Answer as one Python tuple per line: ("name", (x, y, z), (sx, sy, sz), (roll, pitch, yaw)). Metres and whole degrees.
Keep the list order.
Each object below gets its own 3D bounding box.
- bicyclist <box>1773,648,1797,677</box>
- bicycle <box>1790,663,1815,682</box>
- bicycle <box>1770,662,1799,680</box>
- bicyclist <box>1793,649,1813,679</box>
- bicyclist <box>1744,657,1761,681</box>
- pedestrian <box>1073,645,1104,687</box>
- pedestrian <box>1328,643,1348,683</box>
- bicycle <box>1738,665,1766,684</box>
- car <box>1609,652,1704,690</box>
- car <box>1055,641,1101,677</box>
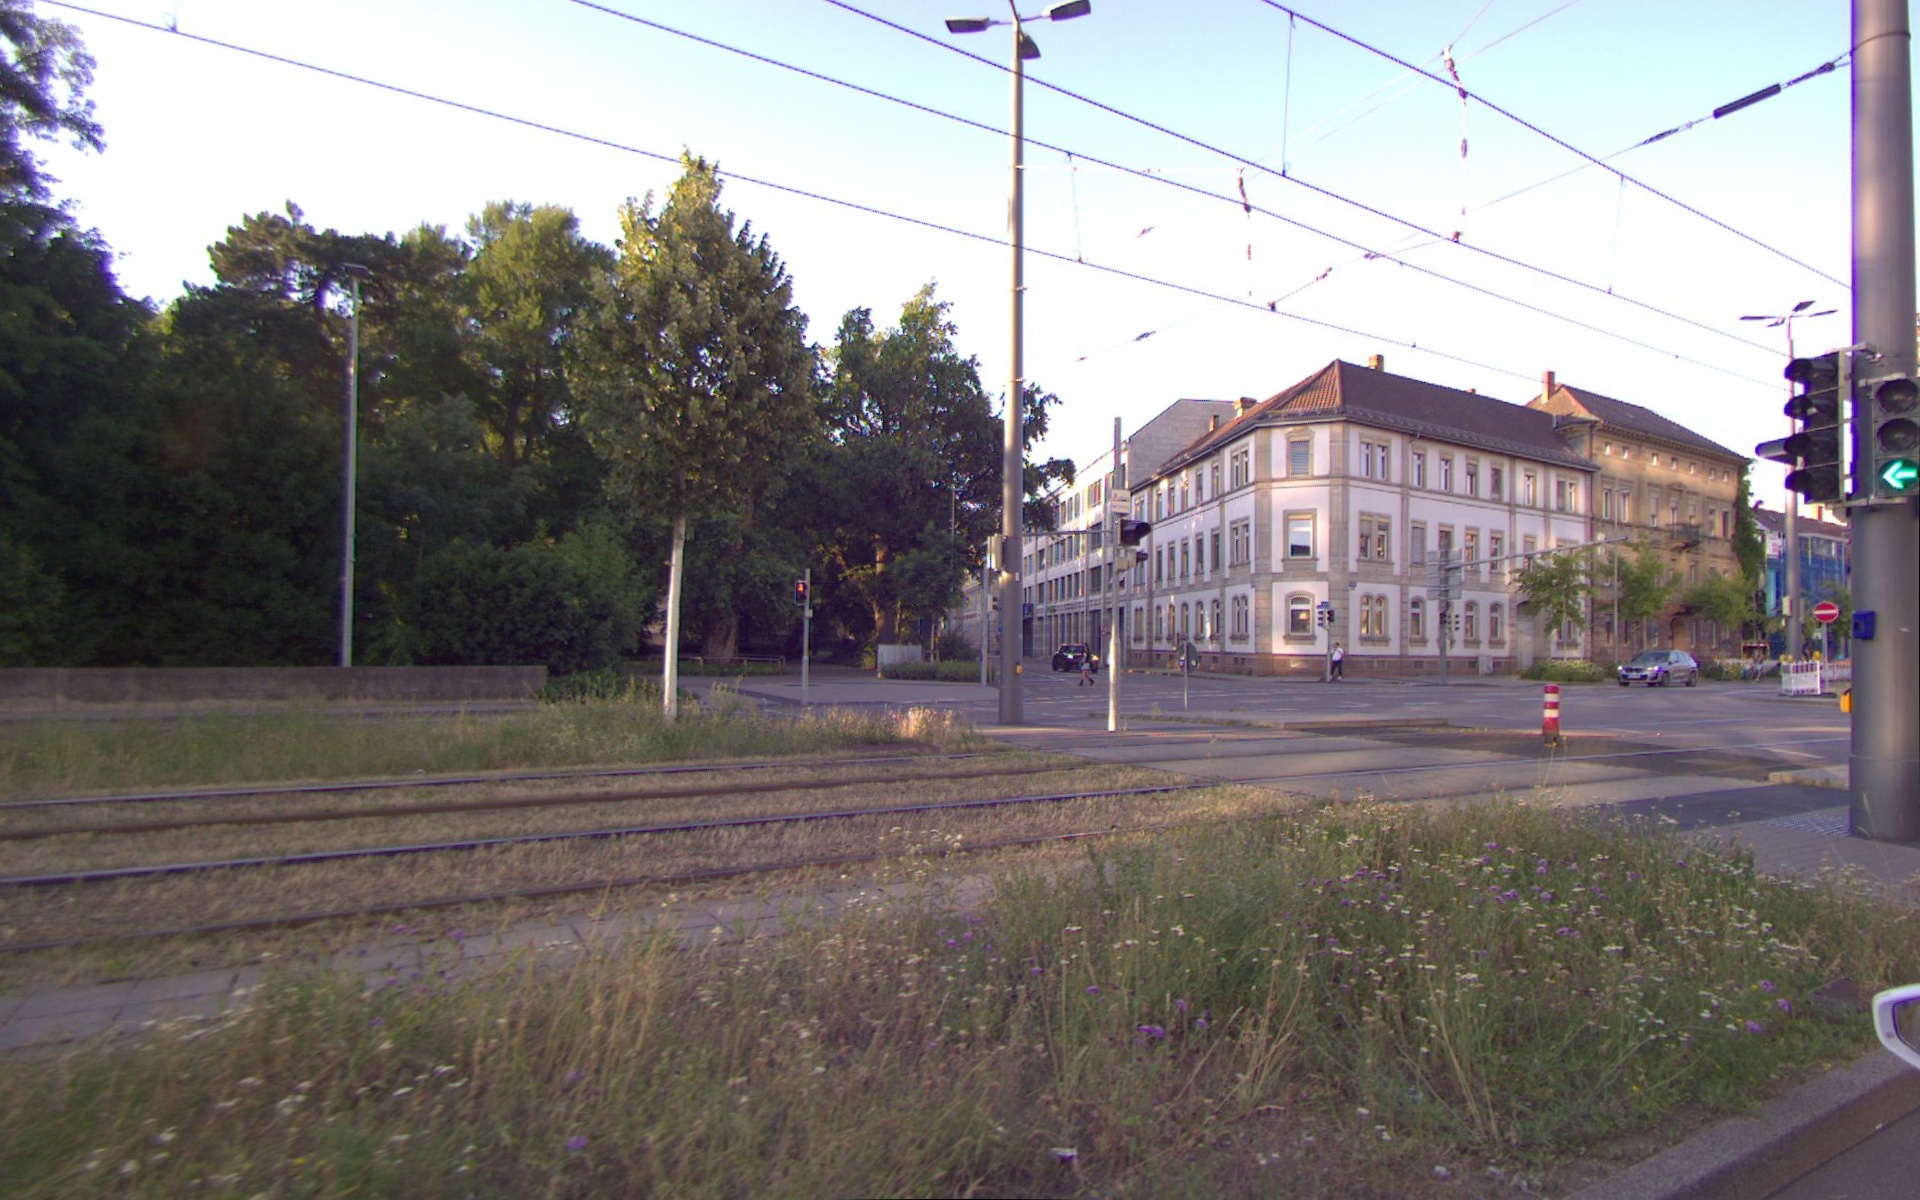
("bicyclist", (46.134, 3.489, 56.178), (0.783, 1.591, 0.768), (2, 0, -31))
("bicycle", (46.061, 3.961, 54.917), (1.538, 0.988, 0.587), (2, 0, -31))
("bicycle", (46.122, 3.977, 56.183), (1.621, 0.957, 0.768), (2, 0, -31))
("bicyclist", (46.076, 3.488, 54.914), (0.702, 1.590, 0.587), (2, 0, -31))
("bicyclist", (43.584, 3.792, 55.258), (0.454, 1.283, 0.588), (2, 0, -25))
("pedestrian", (4.631, 2.371, 36.204), (0.923, 1.477, 0.602), (2, 0, -23))
("pedestrian", (17.223, 2.852, 45.790), (0.796, 1.738, 0.704), (2, 0, 17))
("bicycle", (43.573, 4.073, 55.259), (1.535, 1.002, 0.588), (2, 0, -26))
("car", (31.173, 3.158, 44.950), (4.077, 1.600, 1.984), (2, -4, -31))
("car", (6.082, 3.037, 52.131), (1.755, 1.576, 3.999), (2, 0, -2))
